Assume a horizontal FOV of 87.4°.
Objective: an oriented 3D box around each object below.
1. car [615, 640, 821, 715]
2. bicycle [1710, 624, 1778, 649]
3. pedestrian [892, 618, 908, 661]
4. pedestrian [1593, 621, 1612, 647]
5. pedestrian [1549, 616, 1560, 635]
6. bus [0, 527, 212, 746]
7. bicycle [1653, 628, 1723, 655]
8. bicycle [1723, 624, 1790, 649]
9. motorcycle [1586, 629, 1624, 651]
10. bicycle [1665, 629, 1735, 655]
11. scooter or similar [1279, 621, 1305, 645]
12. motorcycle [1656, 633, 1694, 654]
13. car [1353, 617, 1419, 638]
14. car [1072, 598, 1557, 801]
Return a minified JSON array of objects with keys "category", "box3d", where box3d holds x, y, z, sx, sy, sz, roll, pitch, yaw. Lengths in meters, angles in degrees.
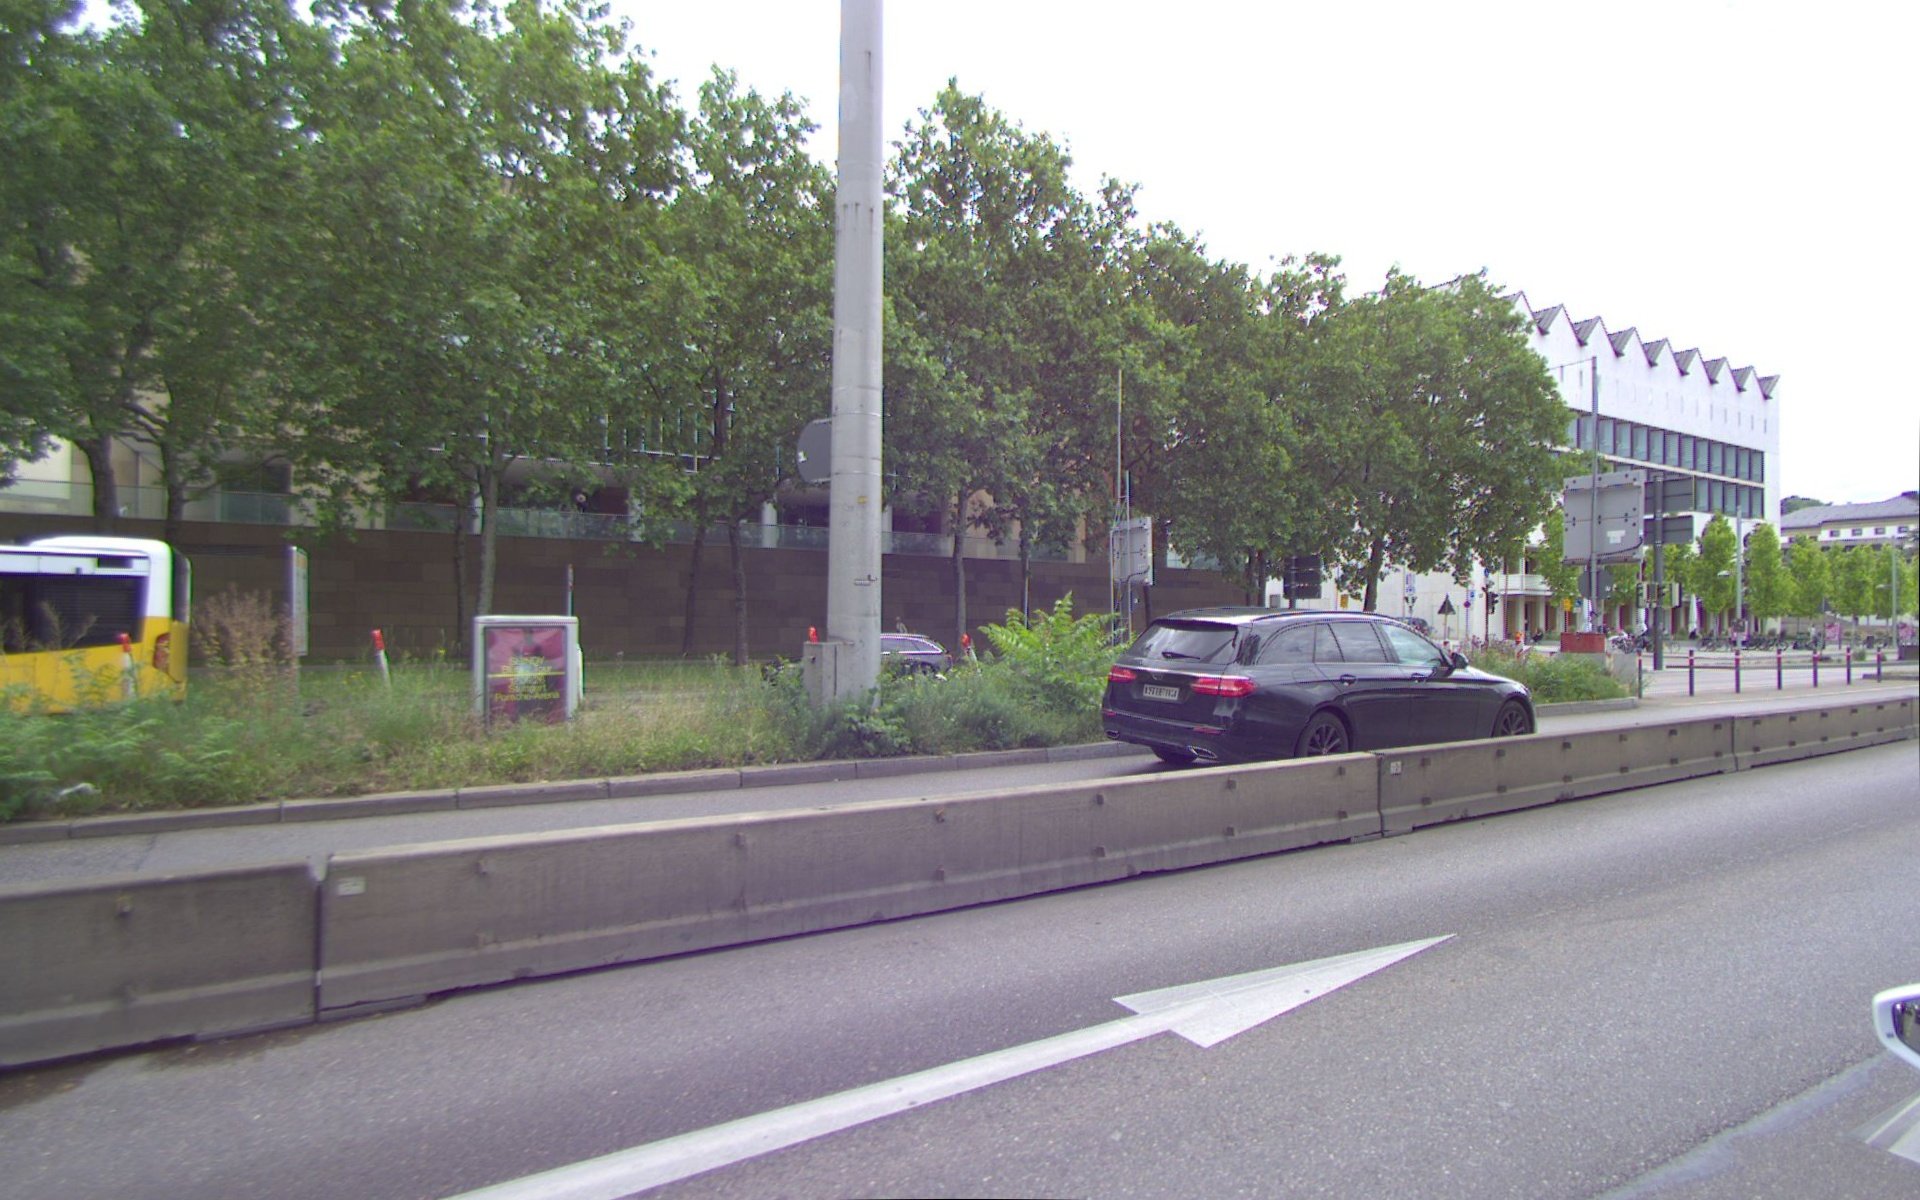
[{"category":"car","box3d":[-5.121,1.582,21.338,3.952,1.390,1.717,1,-1,-30]},{"category":"bicycle","box3d":[54.878,2.535,70.372,1.173,1.706,3.582,1,-2,-40]},{"category":"pedestrian","box3d":[-2.297,1.504,38.534,0.440,1.629,0.351,2,1,-37]},{"category":"pedestrian","box3d":[39.240,2.062,61.355,0.865,1.577,0.598,0,-1,17]},{"category":"pedestrian","box3d":[43.870,1.880,74.163,0.558,1.344,0.516,3,-3,-30]},{"category":"bus","box3d":[-16.723,0.541,15.821,7.621,3.347,2.907,1,-1,-32]},{"category":"bicycle","box3d":[47.933,2.707,66.186,1.169,1.706,3.595,1,-2,-31]},{"category":"bicycle","box3d":[56.682,2.568,71.489,1.173,1.706,3.582,1,-2,-40]},{"category":"motorcycle","box3d":[37.768,2.359,58.863,1.858,1.249,0.657,0,-3,35]},{"category":"bicycle","box3d":[49.829,2.802,67.703,1.169,1.706,3.595,1,-2,-31]},{"category":"scooter or similar","box3d":[19.105,1.895,57.805,0.531,1.358,1.408,1,-1,-30]},{"category":"motorcycle","box3d":[43.007,2.618,60.425,1.858,1.249,0.657,0,-3,35]},{"category":"car","box3d":[29.735,1.904,70.186,1.731,1.293,3.968,2,0,-30]},{"category":"car","box3d":[3.525,0.820,9.598,4.811,1.479,1.801,2,0,-33]}]
